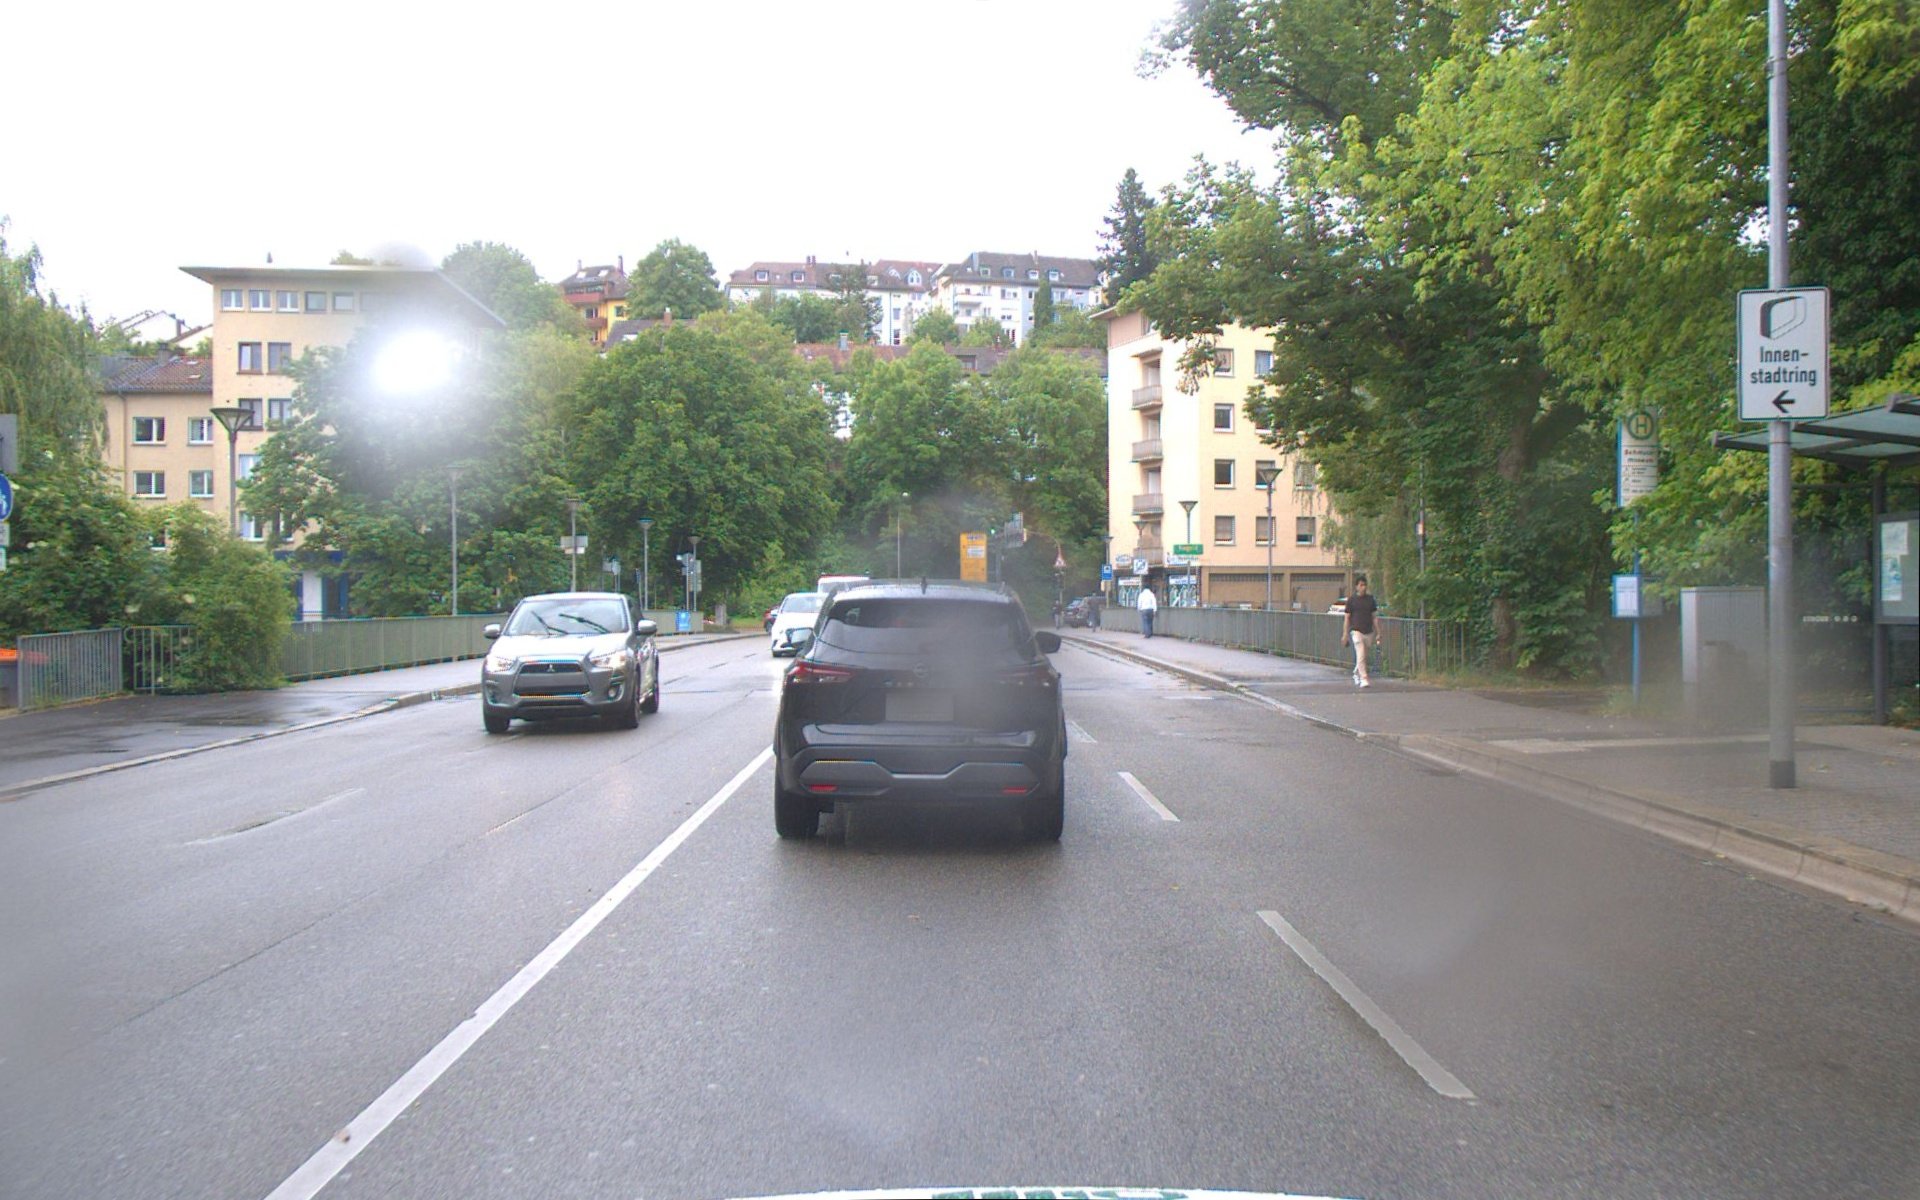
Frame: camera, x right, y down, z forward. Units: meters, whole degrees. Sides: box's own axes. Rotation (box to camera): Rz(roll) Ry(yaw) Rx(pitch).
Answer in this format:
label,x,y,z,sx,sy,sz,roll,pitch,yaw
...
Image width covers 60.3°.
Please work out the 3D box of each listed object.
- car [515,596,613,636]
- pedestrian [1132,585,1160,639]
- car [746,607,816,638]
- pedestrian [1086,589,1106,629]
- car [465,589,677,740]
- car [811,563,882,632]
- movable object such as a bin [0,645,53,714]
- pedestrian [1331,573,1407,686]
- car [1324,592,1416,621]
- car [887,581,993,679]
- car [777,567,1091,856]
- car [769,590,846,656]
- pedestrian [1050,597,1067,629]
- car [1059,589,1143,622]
label,x,y,z,sx,sy,sz,roll,pitch,yaw
car,-19.776,0.777,82.776,4.655,1.886,1.996,0,1,-10
pedestrian,6.214,0.399,55.243,0.764,1.783,1.060,0,-1,-1
car,-10.634,1.358,98.165,1.880,1.765,4.301,-1,0,-43
pedestrian,5.809,0.378,70.732,0.745,1.706,0.781,-2,0,-1
car,-4.653,0.695,20.390,1.777,1.606,4.229,-2,1,-3
car,-4.133,-0.117,61.084,2.243,2.349,6.508,-2,1,-1
movable object such as a bin,-12.895,1.064,22.220,0.946,0.892,0.832,-1,-1,-1
pedestrian,6.431,0.451,26.065,0.830,1.705,1.167,-2,-1,-1
car,21.403,0.314,86.318,4.369,1.400,1.808,-1,2,-18
car,-0.373,0.506,30.279,1.774,1.631,3.999,1,0,-1
car,-0.178,0.630,11.463,1.774,1.631,3.999,1,0,-1
car,-3.796,0.543,41.802,1.746,1.499,4.164,-2,1,-3
pedestrian,5.256,0.691,88.218,0.845,1.647,0.839,-1,-1,-1
car,7.759,0.302,90.962,4.314,1.678,1.867,-1,-1,-27
